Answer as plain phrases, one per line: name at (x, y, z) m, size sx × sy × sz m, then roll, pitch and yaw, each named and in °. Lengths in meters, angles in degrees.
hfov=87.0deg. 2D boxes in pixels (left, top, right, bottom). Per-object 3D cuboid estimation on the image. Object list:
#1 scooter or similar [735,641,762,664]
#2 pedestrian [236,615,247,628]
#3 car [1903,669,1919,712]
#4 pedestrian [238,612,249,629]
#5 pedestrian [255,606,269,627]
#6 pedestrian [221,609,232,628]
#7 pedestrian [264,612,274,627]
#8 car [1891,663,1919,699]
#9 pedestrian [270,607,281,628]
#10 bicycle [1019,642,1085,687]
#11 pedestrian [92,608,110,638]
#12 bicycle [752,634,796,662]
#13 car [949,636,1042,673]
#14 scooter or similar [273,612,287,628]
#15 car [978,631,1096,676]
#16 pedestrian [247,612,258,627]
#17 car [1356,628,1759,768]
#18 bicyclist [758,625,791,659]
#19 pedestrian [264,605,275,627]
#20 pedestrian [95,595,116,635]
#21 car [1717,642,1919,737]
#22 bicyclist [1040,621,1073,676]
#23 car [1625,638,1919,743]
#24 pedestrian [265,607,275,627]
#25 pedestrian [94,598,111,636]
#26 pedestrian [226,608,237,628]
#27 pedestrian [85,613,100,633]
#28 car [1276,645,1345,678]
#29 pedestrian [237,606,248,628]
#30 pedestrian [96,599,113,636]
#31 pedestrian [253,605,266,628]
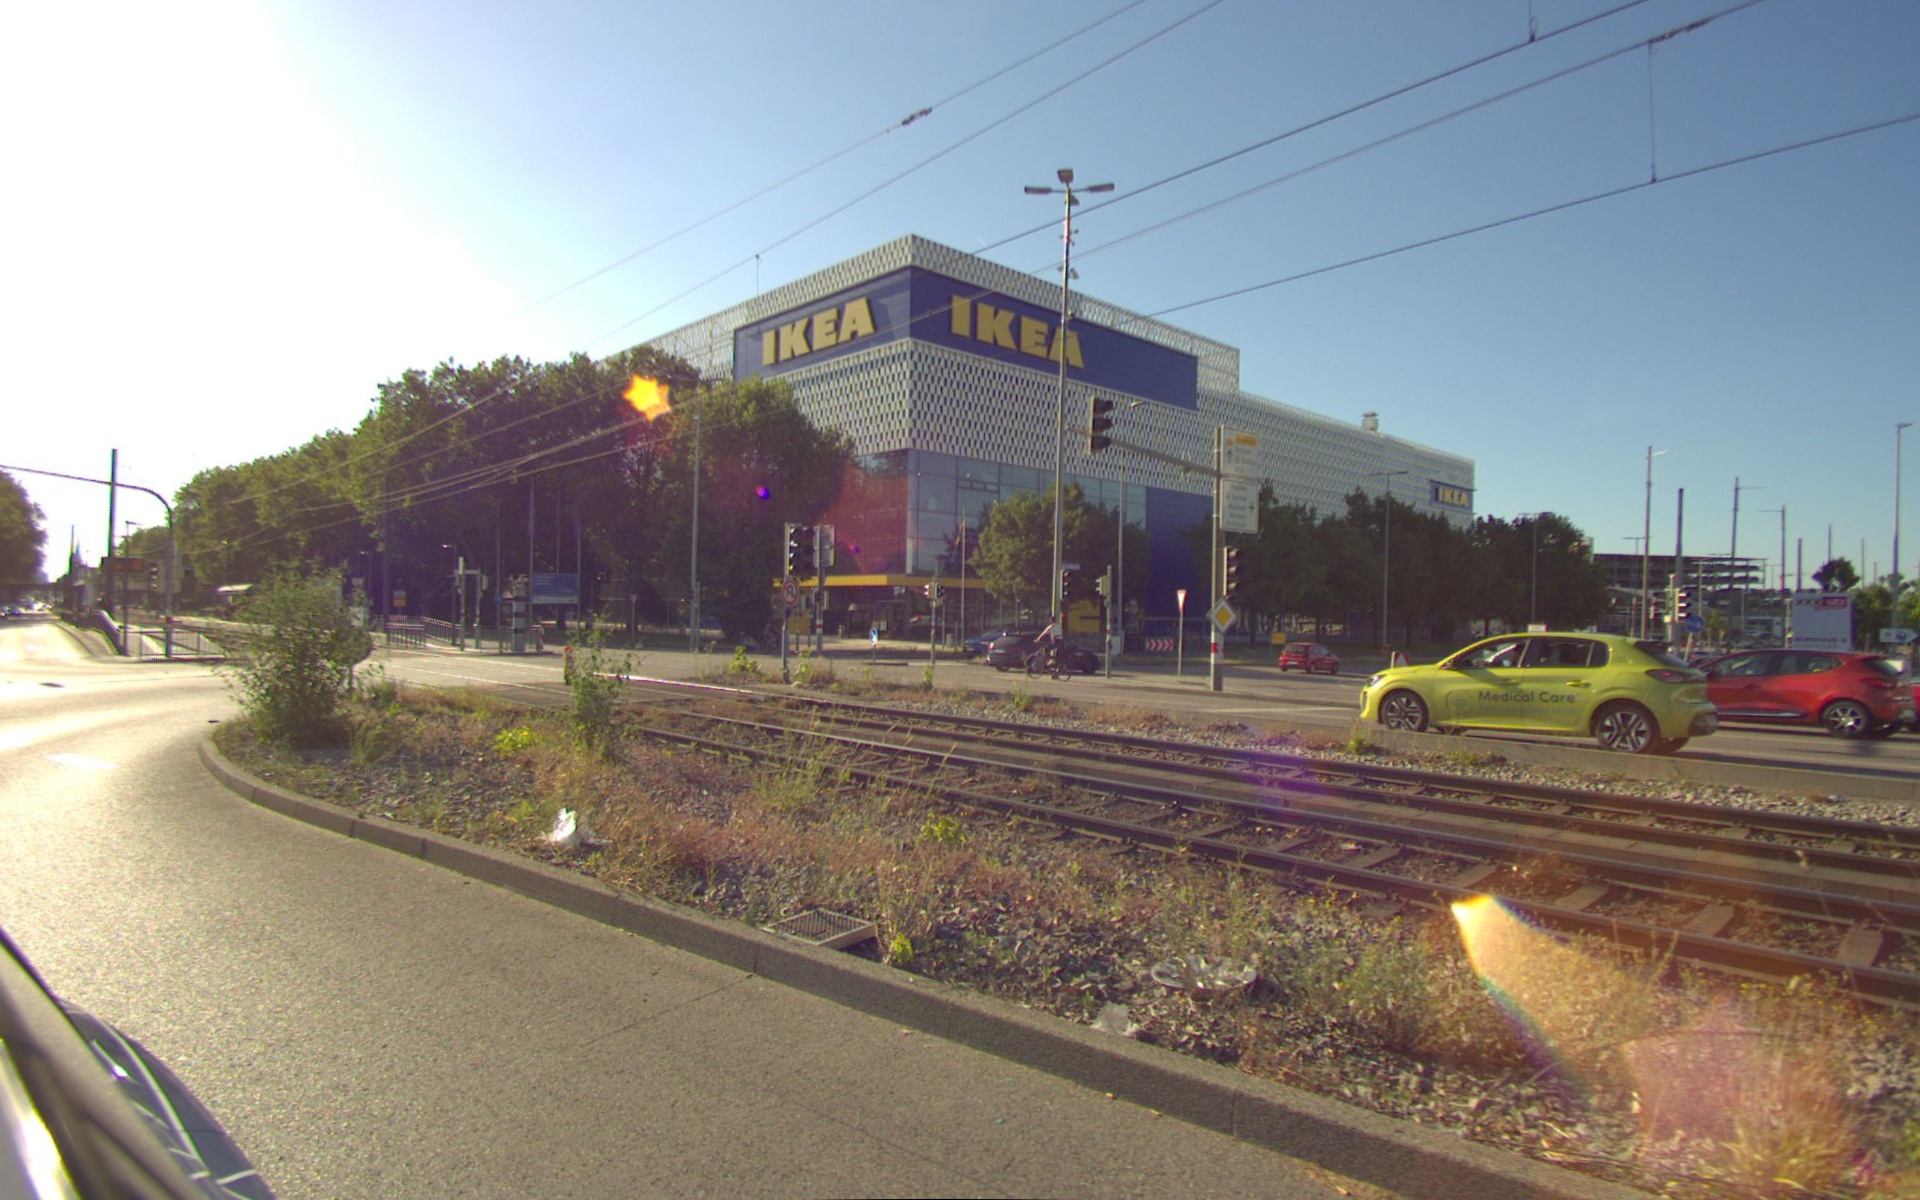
scooter or similar at (-10.813, 2.669, 51.708) m, size 0.789 × 1.022 × 1.051 m, roll 1°, pitch 3°, yaw 43°
pedestrian at (-64.907, 1.933, 91.446) m, size 0.625 × 1.171 × 0.670 m, roll -1°, pitch -1°, yaw 45°
car at (45.068, 4.122, 45.408) m, size 4.000 × 1.758 × 1.908 m, roll -1°, pitch 0°, yaw 43°
pedestrian at (-62.664, 1.763, 88.523) m, size 0.544 × 1.479 × 0.608 m, roll -1°, pitch -1°, yaw 39°
pedestrian at (-57.480, 1.394, 83.310) m, size 0.686 × 1.704 × 0.725 m, roll -1°, pitch 0°, yaw 37°
pedestrian at (-67.137, 1.661, 92.637) m, size 0.752 × 1.723 × 0.679 m, roll -1°, pitch 0°, yaw -42°
pedestrian at (-56.206, 1.562, 82.335) m, size 0.594 × 1.233 × 0.618 m, roll -1°, pitch 0°, yaw -39°
car at (48.242, 4.007, 49.453) m, size 4.000 × 1.605 × 1.908 m, roll -1°, pitch 1°, yaw 43°
pedestrian at (-54.377, 1.385, 80.395) m, size 0.594 × 1.632 × 0.692 m, roll -1°, pitch 0°, yaw -39°
bicycle at (2.576, 1.798, 28.558) m, size 0.580 × 1.176 × 1.994 m, roll 1°, pitch -1°, yaw -42°
pedestrian at (-50.888, 1.341, 59.963) m, size 0.822 × 1.728 × 0.686 m, roll -1°, pitch 0°, yaw 43°
bicycle at (-9.719, 2.504, 52.955) m, size 0.715 × 1.227 × 2.247 m, roll 1°, pitch 3°, yaw 43°
car at (1.695, 2.550, 47.188) m, size 2.017 × 1.509 × 4.195 m, roll 1°, pitch -3°, yaw 45°
scooter or similar at (-52.696, 1.566, 78.389) m, size 0.656 × 1.244 × 1.373 m, roll 1°, pitch -1°, yaw -43°
car at (2.780, 1.917, 35.988) m, size 4.028 × 1.469 × 1.924 m, roll 4°, pitch -3°, yaw -42°
pedestrian at (-60.031, 1.635, 85.854) m, size 0.686 × 1.262 × 0.645 m, roll -1°, pitch 0°, yaw 45°
car at (7.457, 1.126, 12.938) m, size 1.762 × 1.459 × 4.112 m, roll 3°, pitch -3°, yaw -42°
bicyclist at (-9.712, 2.198, 52.973) m, size 0.823 × 1.629 × 1.465 m, roll 1°, pitch 3°, yaw 43°
pedestrian at (-55.677, 1.299, 81.607) m, size 0.643 × 1.732 × 0.636 m, roll -1°, pitch 0°, yaw -39°
pedestrian at (-39.596, 0.684, 46.899) m, size 0.697 × 1.788 × 0.536 m, roll -2°, pitch 1°, yaw -38°
car at (17.374, 1.687, 19.567) m, size 1.795 × 1.655 × 4.012 m, roll 3°, pitch -3°, yaw -29°
bicyclist at (2.709, 1.352, 28.428) m, size 0.580 × 1.534 × 0.752 m, roll 1°, pitch -1°, yaw -42°
car at (14.148, 1.476, 17.374) m, size 1.909 × 1.487 × 4.142 m, roll 4°, pitch -3°, yaw -35°
pedestrian at (-55.431, 1.367, 81.319) m, size 0.643 × 1.632 × 0.636 m, roll -1°, pitch 0°, yaw -39°
pedestrian at (-39.212, 0.748, 46.273) m, size 0.527 × 1.705 × 0.761 m, roll -2°, pitch 1°, yaw -41°
pedestrian at (-62.133, 1.511, 86.319) m, size 0.652 × 1.645 × 0.778 m, roll -1°, pitch 0°, yaw -41°
pedestrian at (-53.977, 1.440, 62.965) m, size 0.672 × 1.241 × 0.879 m, roll -2°, pitch 0°, yaw -43°
car at (17.229, 3.041, 49.709) m, size 3.533 × 1.471 × 1.772 m, roll 5°, pitch -3°, yaw -44°
pedestrian at (-59.732, 1.416, 84.276) m, size 0.644 × 1.755 × 0.686 m, roll -2°, pitch 0°, yaw -40°
pedestrian at (-38.550, 0.780, 45.599) m, size 0.527 × 1.669 × 0.752 m, roll -1°, pitch 1°, yaw -41°
pedestrian at (-58.081, 1.350, 83.920) m, size 0.686 × 1.834 × 0.725 m, roll -1°, pitch 0°, yaw 37°
